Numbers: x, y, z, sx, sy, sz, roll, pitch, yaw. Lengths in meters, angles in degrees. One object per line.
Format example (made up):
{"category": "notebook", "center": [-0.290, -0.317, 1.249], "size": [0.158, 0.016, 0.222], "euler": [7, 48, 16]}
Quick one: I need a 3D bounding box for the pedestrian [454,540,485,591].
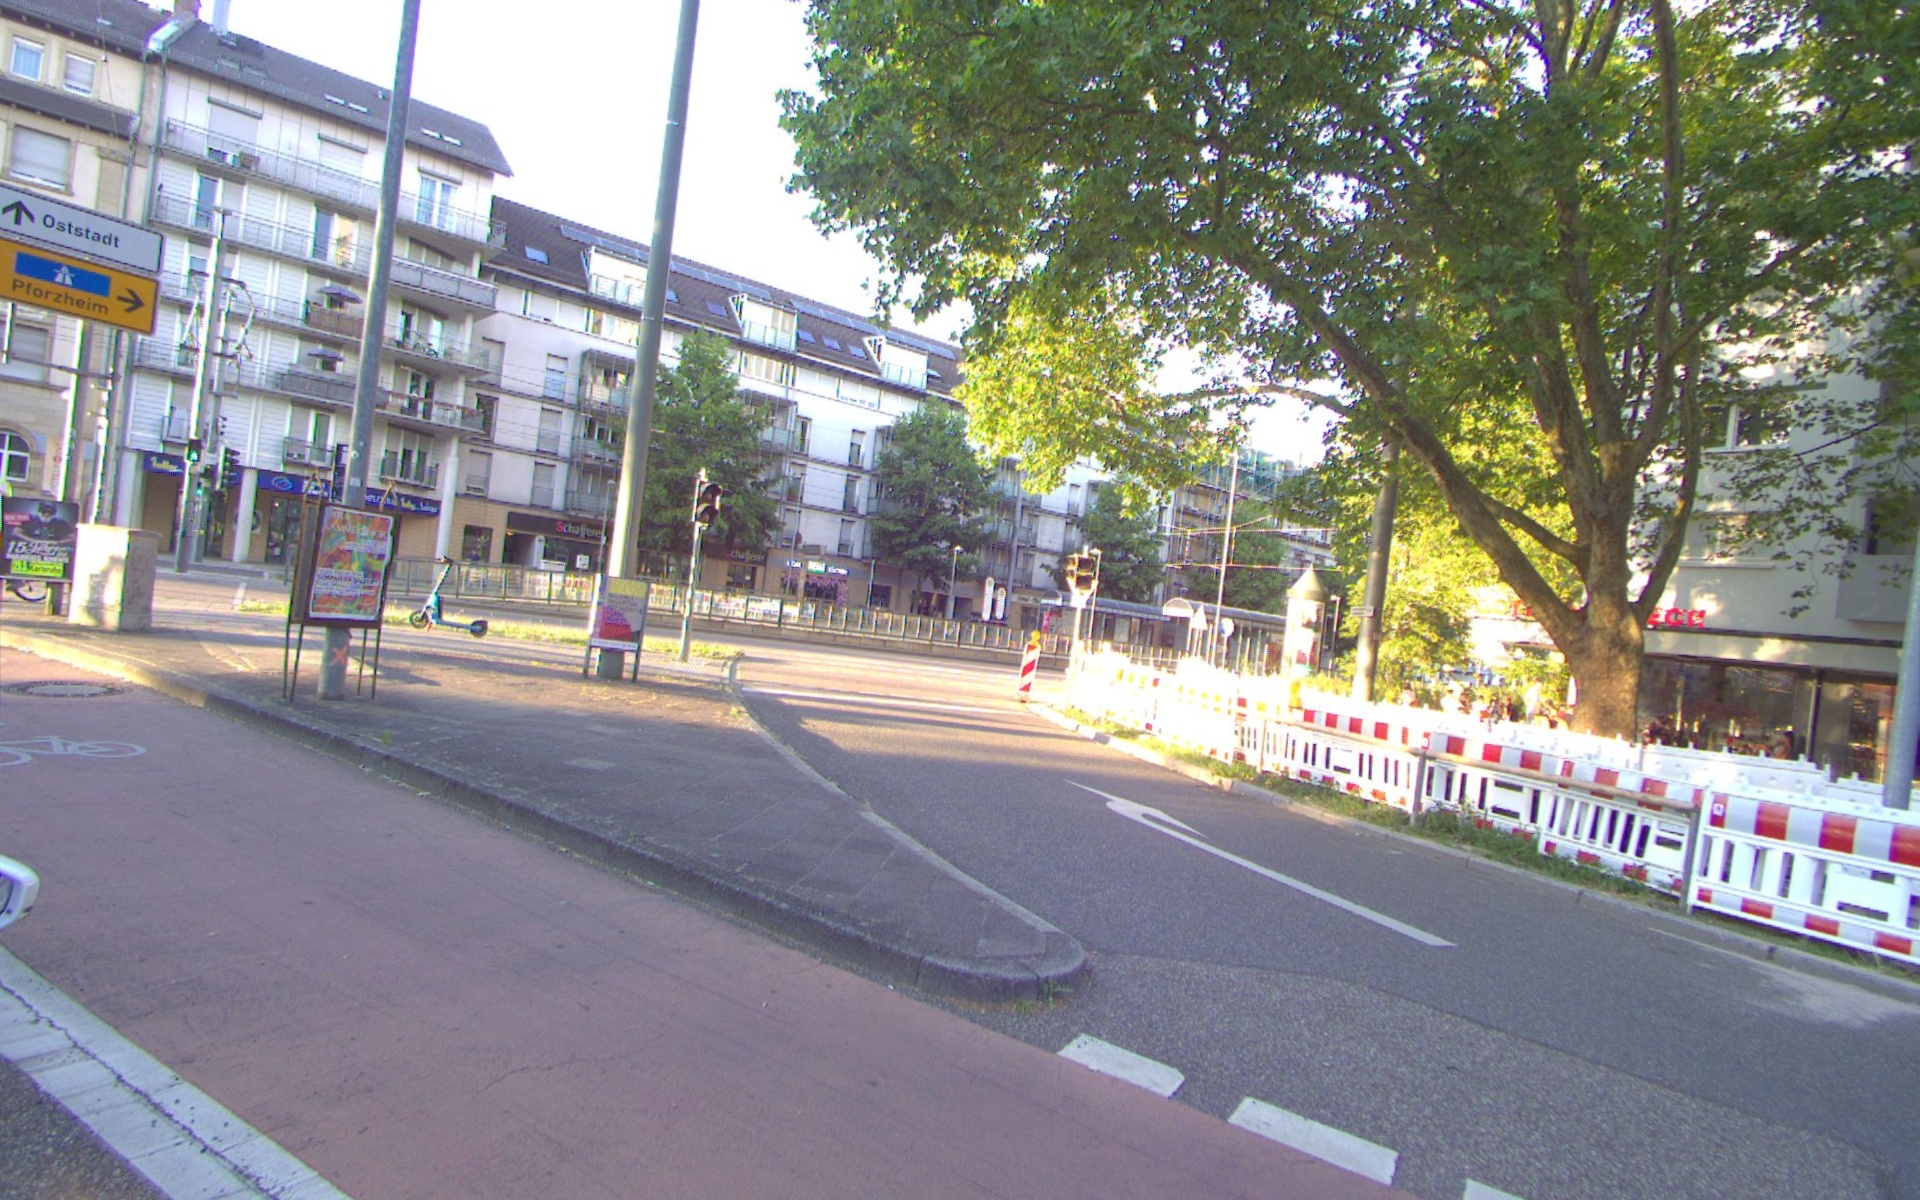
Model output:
{"category": "pedestrian", "center": [-22.503, -1.578, 46.152], "size": [0.864, 2.234, 0.812], "euler": [8, -1, -39]}

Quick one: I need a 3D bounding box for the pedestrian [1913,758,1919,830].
{"category": "pedestrian", "center": [15.699, 2.894, 15.832], "size": [0.733, 1.607, 0.641], "euler": [6, -1, 25]}

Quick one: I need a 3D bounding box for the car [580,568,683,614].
{"category": "car", "center": [-14.936, -0.387, 45.849], "size": [3.970, 1.503, 1.830], "euler": [9, -3, -39]}

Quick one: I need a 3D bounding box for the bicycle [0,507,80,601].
{"category": "bicycle", "center": [-12.085, -0.619, 12.348], "size": [0.617, 1.122, 2.073], "euler": [7, -2, 0]}

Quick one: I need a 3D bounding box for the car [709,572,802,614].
{"category": "car", "center": [-9.979, -0.325, 49.137], "size": [3.964, 1.503, 1.833], "euler": [9, -2, -34]}

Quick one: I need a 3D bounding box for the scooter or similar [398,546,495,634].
{"category": "scooter or similar", "center": [-8.400, -0.158, 16.506], "size": [1.217, 1.264, 0.513], "euler": [8, -1, -19]}

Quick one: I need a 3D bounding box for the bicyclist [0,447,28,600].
{"category": "bicyclist", "center": [-12.032, -0.974, 12.174], "size": [0.617, 1.845, 0.699], "euler": [7, -1, 0]}
